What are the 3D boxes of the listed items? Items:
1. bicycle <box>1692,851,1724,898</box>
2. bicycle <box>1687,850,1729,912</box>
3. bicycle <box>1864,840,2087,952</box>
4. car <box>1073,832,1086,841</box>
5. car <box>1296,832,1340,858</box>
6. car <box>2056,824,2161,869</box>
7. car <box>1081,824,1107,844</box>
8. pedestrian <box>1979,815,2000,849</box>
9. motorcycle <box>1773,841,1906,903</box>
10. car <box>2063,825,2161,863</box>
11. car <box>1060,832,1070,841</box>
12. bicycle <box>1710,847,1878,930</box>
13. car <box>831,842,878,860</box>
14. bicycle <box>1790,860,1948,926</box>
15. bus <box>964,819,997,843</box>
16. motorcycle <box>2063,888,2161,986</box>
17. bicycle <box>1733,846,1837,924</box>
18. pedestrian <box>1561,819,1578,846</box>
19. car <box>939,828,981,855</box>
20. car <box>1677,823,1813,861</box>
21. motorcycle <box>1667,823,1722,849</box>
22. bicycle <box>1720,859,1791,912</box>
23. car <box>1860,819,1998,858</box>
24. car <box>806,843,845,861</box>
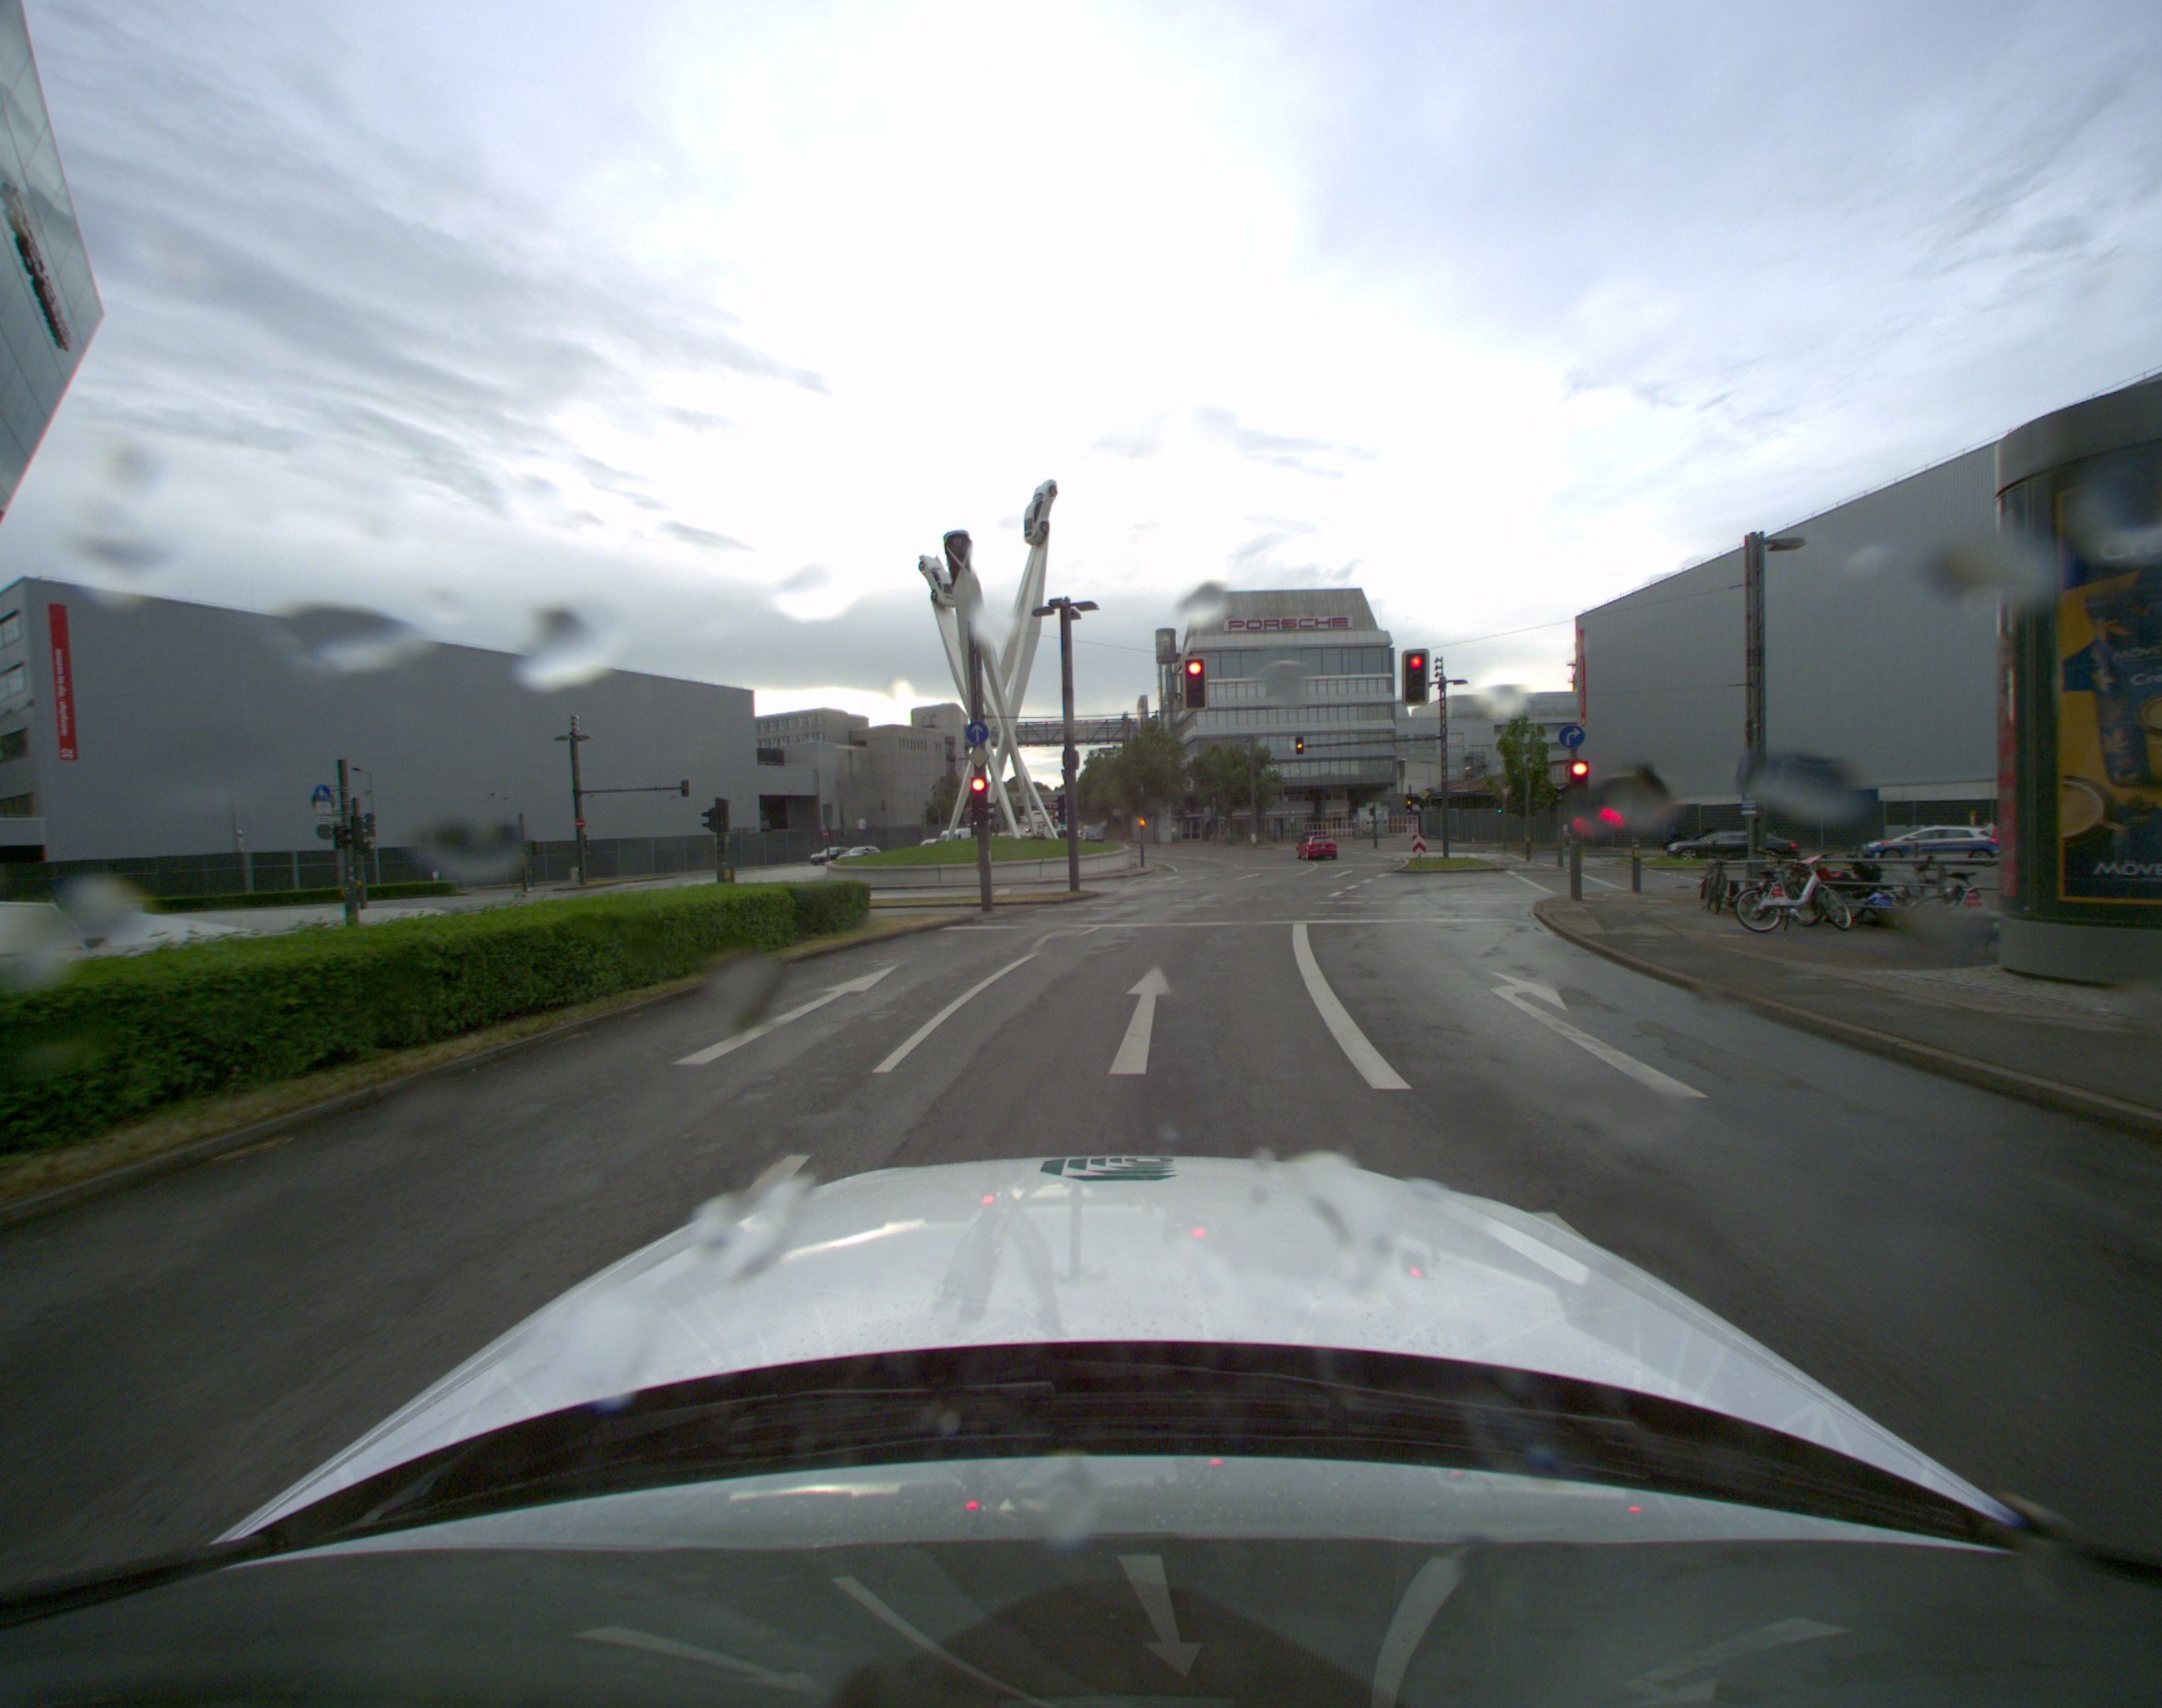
[{"bbox_3d":[15.592,0.495,20.238,0.381,1.097,1.761,-2,0,44],"label":"bicycle"},{"bbox_3d":[12.112,0.495,15.764,0.381,1.119,1.761,-2,0,30],"label":"bicycle"},{"bbox_3d":[10.202,0.472,9.331,1.793,1.161,0.592,-3,-1,2],"label":"bicycle"},{"bbox_3d":[-0.180,-2.610,122.682,1.664,1.301,3.880,-2,0,-4],"label":"car"},{"bbox_3d":[14.113,-0.511,48.662,1.764,1.464,3.738,-2,0,5],"label":"car"},{"bbox_3d":[32.445,-0.249,25.015,1.597,1.291,3.584,-2,0,20],"label":"car"},{"bbox_3d":[1.491,-2.274,94.865,2.232,2.108,4.939,-2,-1,-9],"label":"car"},{"bbox_3d":[41.232,-0.997,36.979,0.426,1.481,0.606,-2,1,-43],"label":"pedestrian"},{"bbox_3d":[18.285,0.435,19.694,2.208,1.452,0.761,-1,1,23],"label":"motorcycle"},{"bbox_3d":[40.504,-0.403,30.868,3.949,1.392,1.768,1,3,42],"label":"car"},{"bbox_3d":[-2.508,-2.755,127.208,1.552,1.288,3.413,-2,0,0],"label":"car"},{"bbox_3d":[10.435,0.497,11.977,1.760,1.140,0.679,-2,-1,6],"label":"bicycle"},{"bbox_3d":[-18.422,-0.267,66.485,1.831,1.338,4.017,-2,1,15],"label":"car"},{"bbox_3d":[12.140,0.564,12.661,0.687,0.905,2.181,-1,0,12],"label":"bicycle"},{"bbox_3d":[-14.248,-3.171,116.972,2.658,3.200,12.676,-1,1,2],"label":"bus"},{"bbox_3d":[11.989,0.920,8.780,0.694,0.990,1.751,-2,1,1],"label":"motorcycle"},{"bbox_3d":[11.317,0.472,13.172,0.382,1.162,2.009,-2,-1,14],"label":"bicycle"},{"bbox_3d":[29.121,-1.269,48.525,0.800,1.610,0.774,-2,-1,29],"label":"pedestrian"},{"bbox_3d":[-11.503,-1.195,77.889,1.979,2.447,5.448,-2,1,14],"label":"car"},{"bbox_3d":[28.855,-0.530,35.485,4.526,1.539,1.768,1,3,42],"label":"car"},{"bbox_3d":[33.214,-0.962,44.097,2.330,1.344,0.657,-1,1,40],"label":"motorcycle"},{"bbox_3d":[12.563,0.566,15.215,0.526,0.905,1.823,-2,0,24],"label":"bicycle"},{"bbox_3d":[36.059,-0.663,34.812,3.931,1.601,1.923,1,2,42],"label":"car"},{"bbox_3d":[-22.268,-0.159,71.141,1.826,1.472,4.515,-2,1,2],"label":"car"}]
